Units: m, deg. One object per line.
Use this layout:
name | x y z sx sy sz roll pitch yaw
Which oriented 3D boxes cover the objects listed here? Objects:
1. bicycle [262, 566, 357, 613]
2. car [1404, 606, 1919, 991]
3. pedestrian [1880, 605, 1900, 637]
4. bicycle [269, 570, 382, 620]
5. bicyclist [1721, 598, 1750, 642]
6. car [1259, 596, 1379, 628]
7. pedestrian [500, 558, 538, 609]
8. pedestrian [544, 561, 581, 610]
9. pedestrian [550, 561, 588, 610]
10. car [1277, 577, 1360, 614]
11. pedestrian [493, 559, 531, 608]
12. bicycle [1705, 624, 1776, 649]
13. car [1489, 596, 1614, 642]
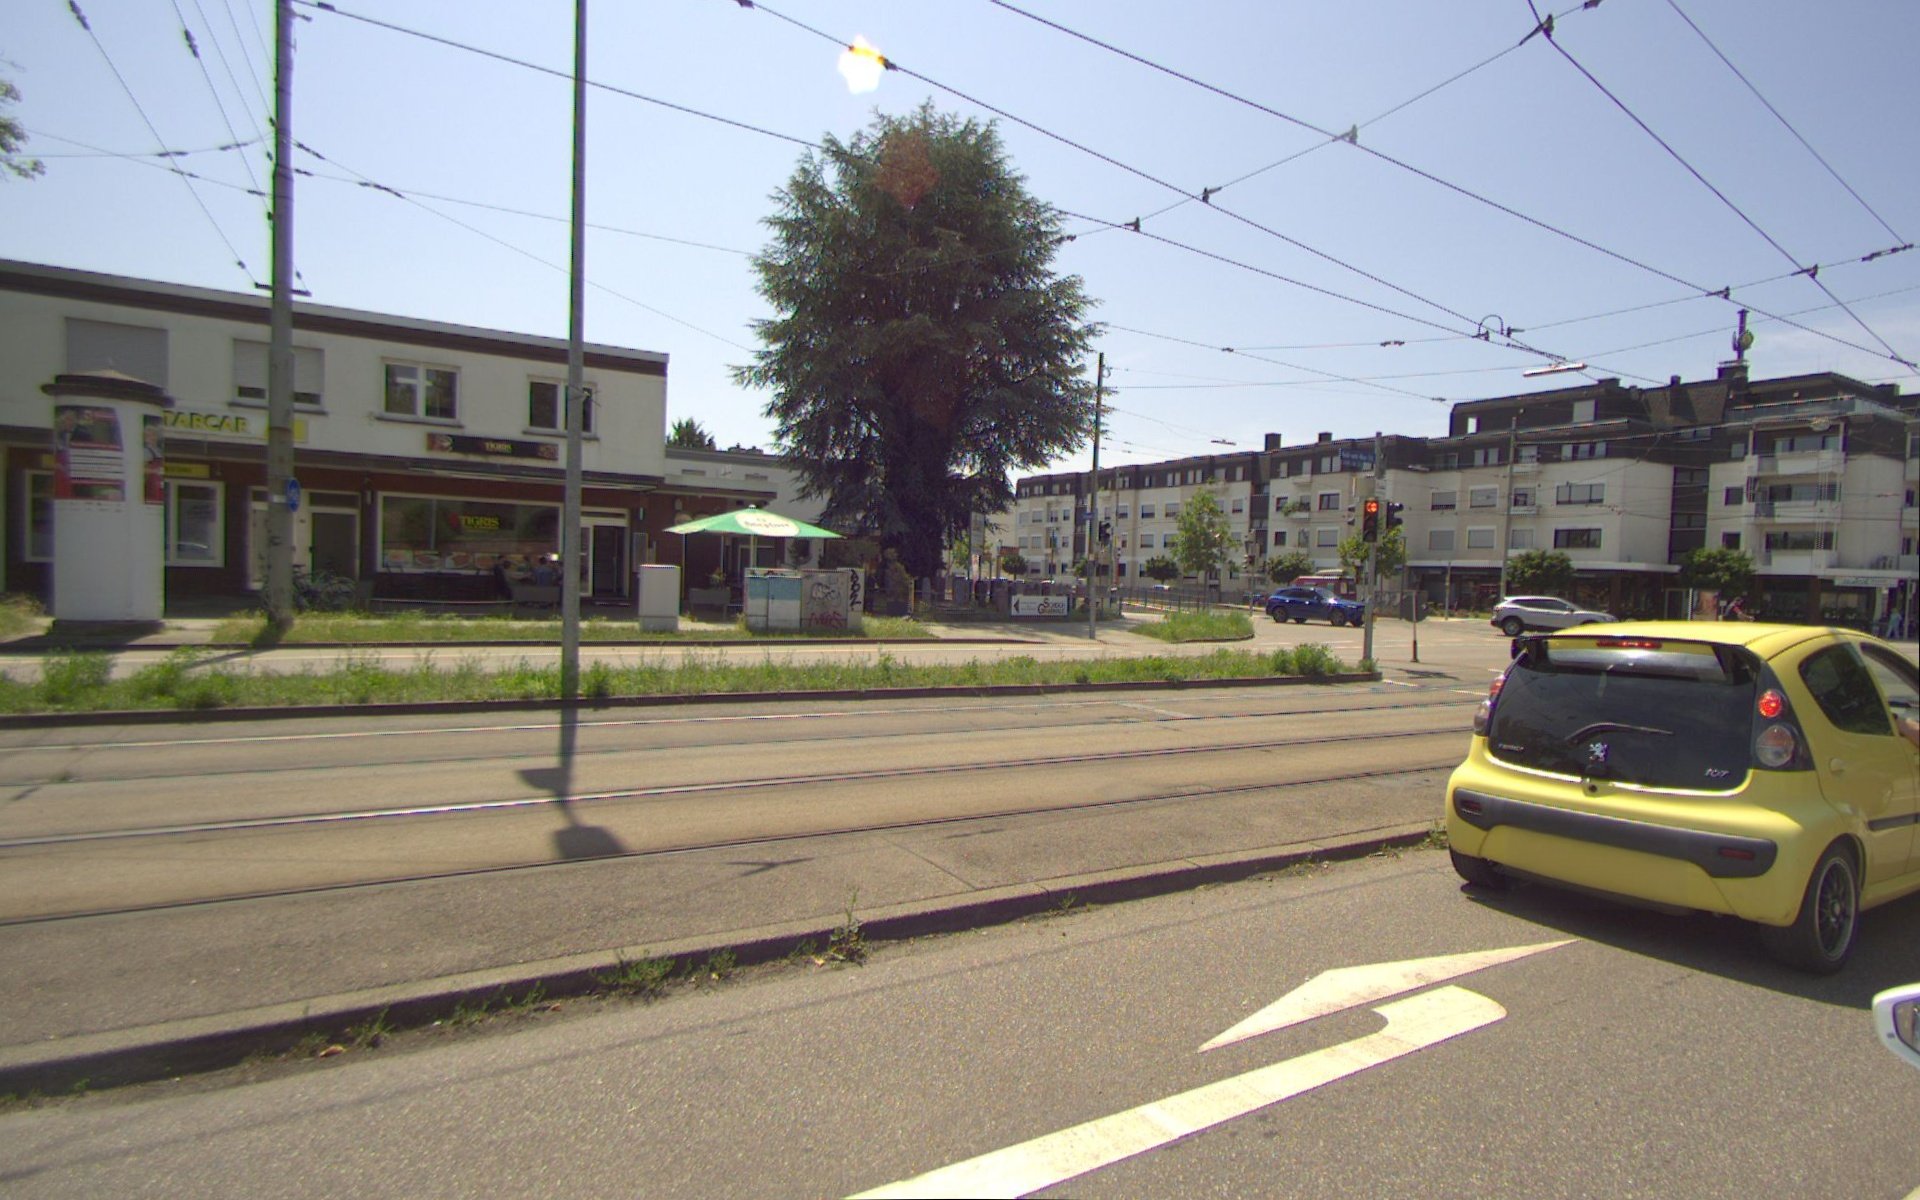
bicycle | -14.655 -0.227 22.665 1.738 0.992 0.536 2 0 -31
car | 4.192 0.785 5.448 3.254 1.464 1.715 1 0 -31
pedestrian | 51.885 1.153 56.059 0.598 1.777 0.506 2 0 16
bicycle | -13.645 -0.103 21.674 2.006 0.992 0.607 2 0 -31
bicyclist | 27.766 0.707 35.967 0.739 1.521 0.481 2 0 29
car | 16.063 0.510 45.074 1.925 1.253 4.726 2 0 -41
pedestrian | -11.572 -0.424 26.356 0.832 1.285 0.586 2 0 -30
pedestrian | -10.936 -0.397 27.642 0.832 1.285 0.586 2 0 -30
pedestrian | -10.543 -0.391 27.069 0.832 1.285 0.586 2 0 -30
car | 24.415 -0.321 68.606 2.219 2.372 5.038 2 0 -31
pedestrian | -12.032 -0.442 26.967 0.832 1.285 0.586 2 0 -30
bicycle | 27.897 1.301 35.928 1.951 0.793 0.466 2 0 29
car | 23.058 0.729 39.192 4.081 1.605 1.934 2 0 33
